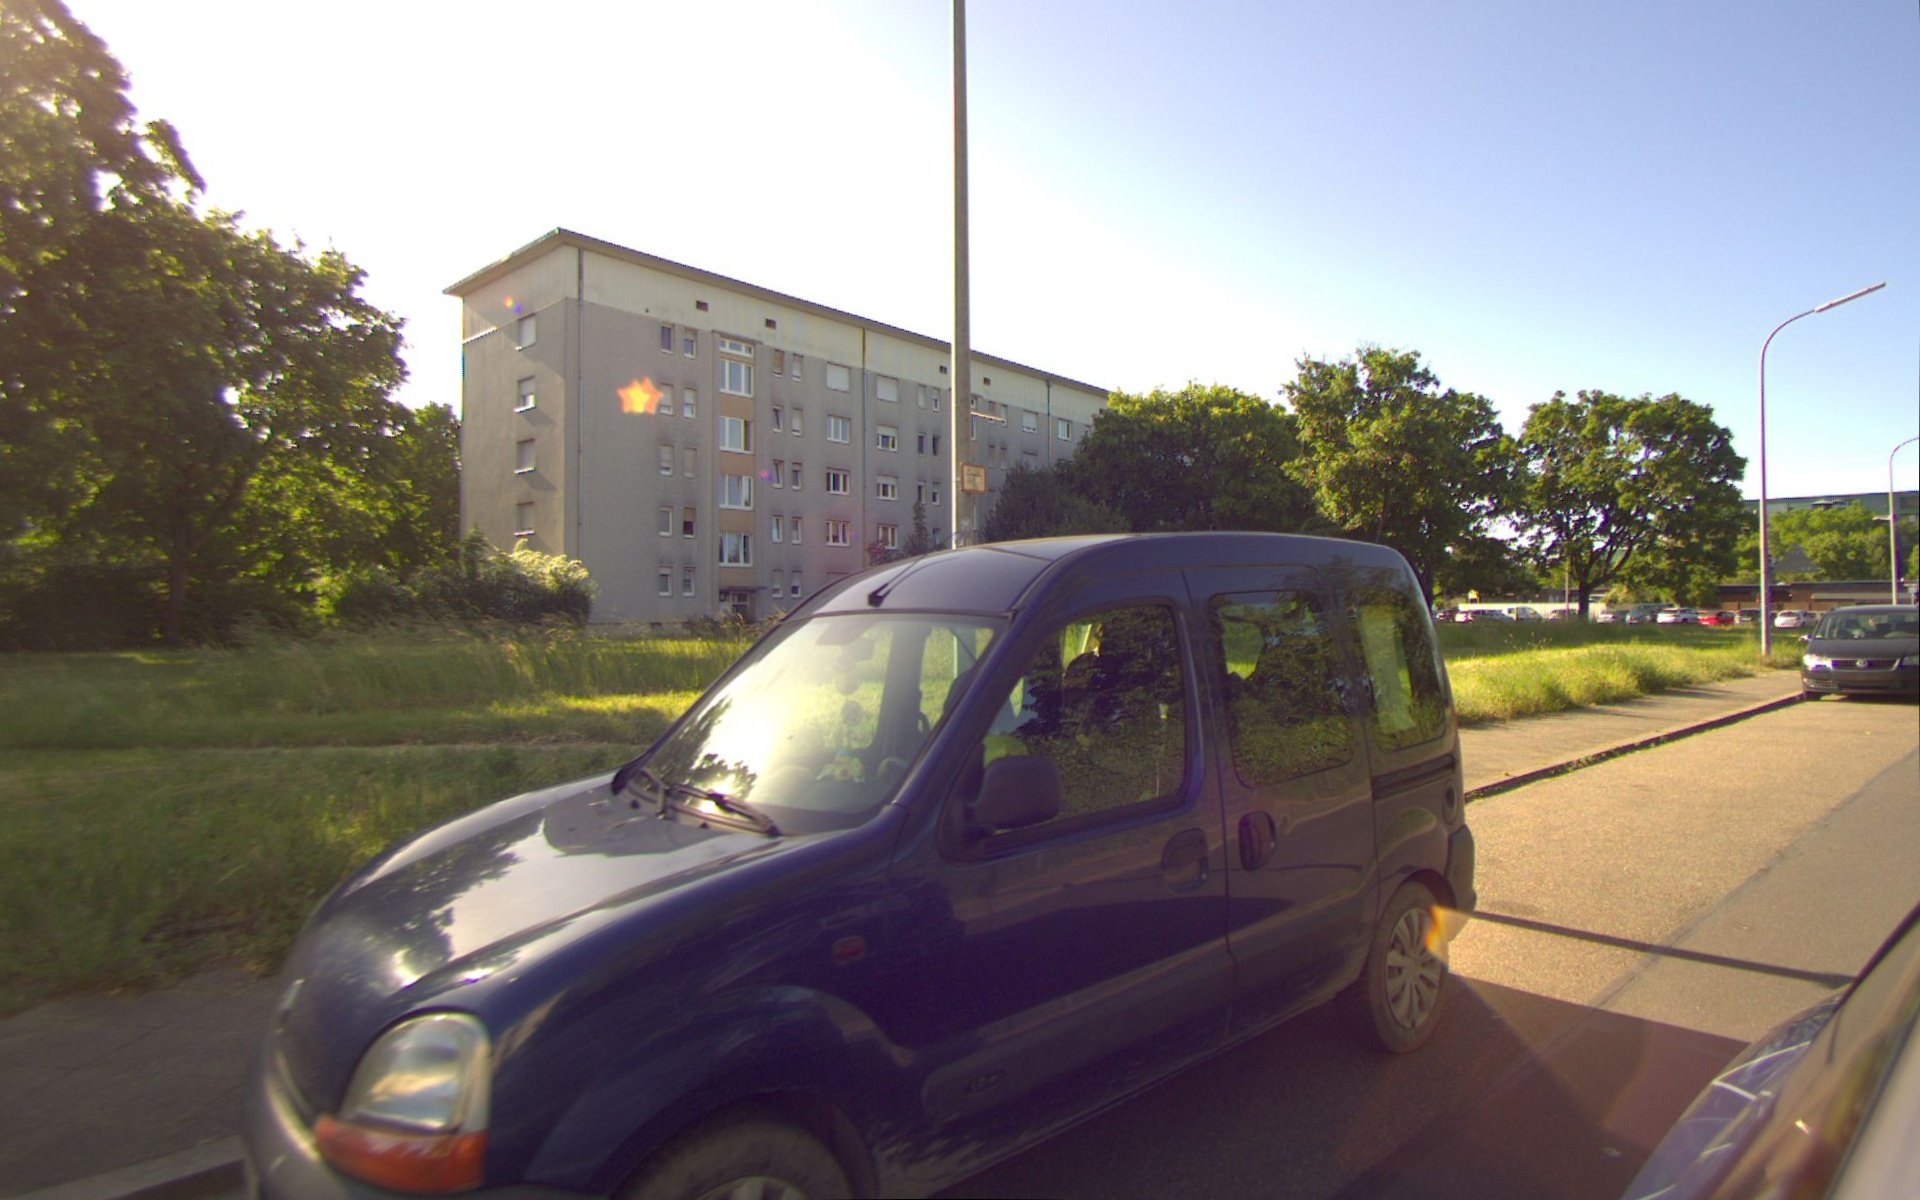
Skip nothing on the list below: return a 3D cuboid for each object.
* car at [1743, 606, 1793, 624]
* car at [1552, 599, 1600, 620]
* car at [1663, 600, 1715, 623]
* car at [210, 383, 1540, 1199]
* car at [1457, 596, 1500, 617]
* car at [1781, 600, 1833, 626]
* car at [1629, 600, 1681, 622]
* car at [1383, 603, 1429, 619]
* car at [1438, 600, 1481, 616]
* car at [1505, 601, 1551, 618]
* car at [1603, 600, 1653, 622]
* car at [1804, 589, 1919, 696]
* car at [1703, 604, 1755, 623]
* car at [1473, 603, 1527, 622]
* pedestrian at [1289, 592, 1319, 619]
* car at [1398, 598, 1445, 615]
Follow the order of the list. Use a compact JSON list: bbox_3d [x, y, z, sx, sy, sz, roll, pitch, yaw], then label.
[{"bbox_3d":[62.141,1.144,77.793,3.921,1.341,1.783,0,0,-31],"label":"car"},{"bbox_3d":[55.811,0.865,91.713,3.919,1.795,1.960,-2,1,-28],"label":"car"},{"bbox_3d":[59.324,0.943,82.340,3.918,1.796,1.864,0,0,-28],"label":"car"},{"bbox_3d":[0.126,0.610,3.262,4.011,1.753,1.701,0,-2,-40],"label":"car"},{"bbox_3d":[51.465,0.648,100.480,3.920,2.039,2.002,0,0,-30],"label":"car"},{"bbox_3d":[63.427,0.932,75.779,3.923,1.883,1.958,0,0,-34],"label":"car"},{"bbox_3d":[58.124,0.922,84.616,3.918,1.796,1.960,0,0,-28],"label":"car"},{"bbox_3d":[42.241,1.032,95.856,1.958,1.469,3.646,0,0,-24],"label":"car"},{"bbox_3d":[50.702,0.833,102.705,3.918,1.581,1.960,0,0,-28],"label":"car"},{"bbox_3d":[53.760,0.910,95.786,3.918,1.581,1.960,0,0,-28],"label":"car"},{"bbox_3d":[57.578,0.922,87.253,3.918,1.796,1.960,0,0,-28],"label":"car"},{"bbox_3d":[16.232,0.677,17.637,4.394,1.673,1.840,0,-2,-44],"label":"car"},{"bbox_3d":[61.208,1.083,80.547,3.918,1.488,1.868,0,0,-28],"label":"car"},{"bbox_3d":[46.141,1.031,86.483,1.958,1.543,3.646,0,0,-24],"label":"car"},{"bbox_3d":[26.682,0.432,78.508,1.668,2.057,1.490,0,0,-39],"label":"pedestrian"},{"bbox_3d":[48.970,0.691,107.378,4.605,1.767,1.960,0,0,-24],"label":"car"}]
